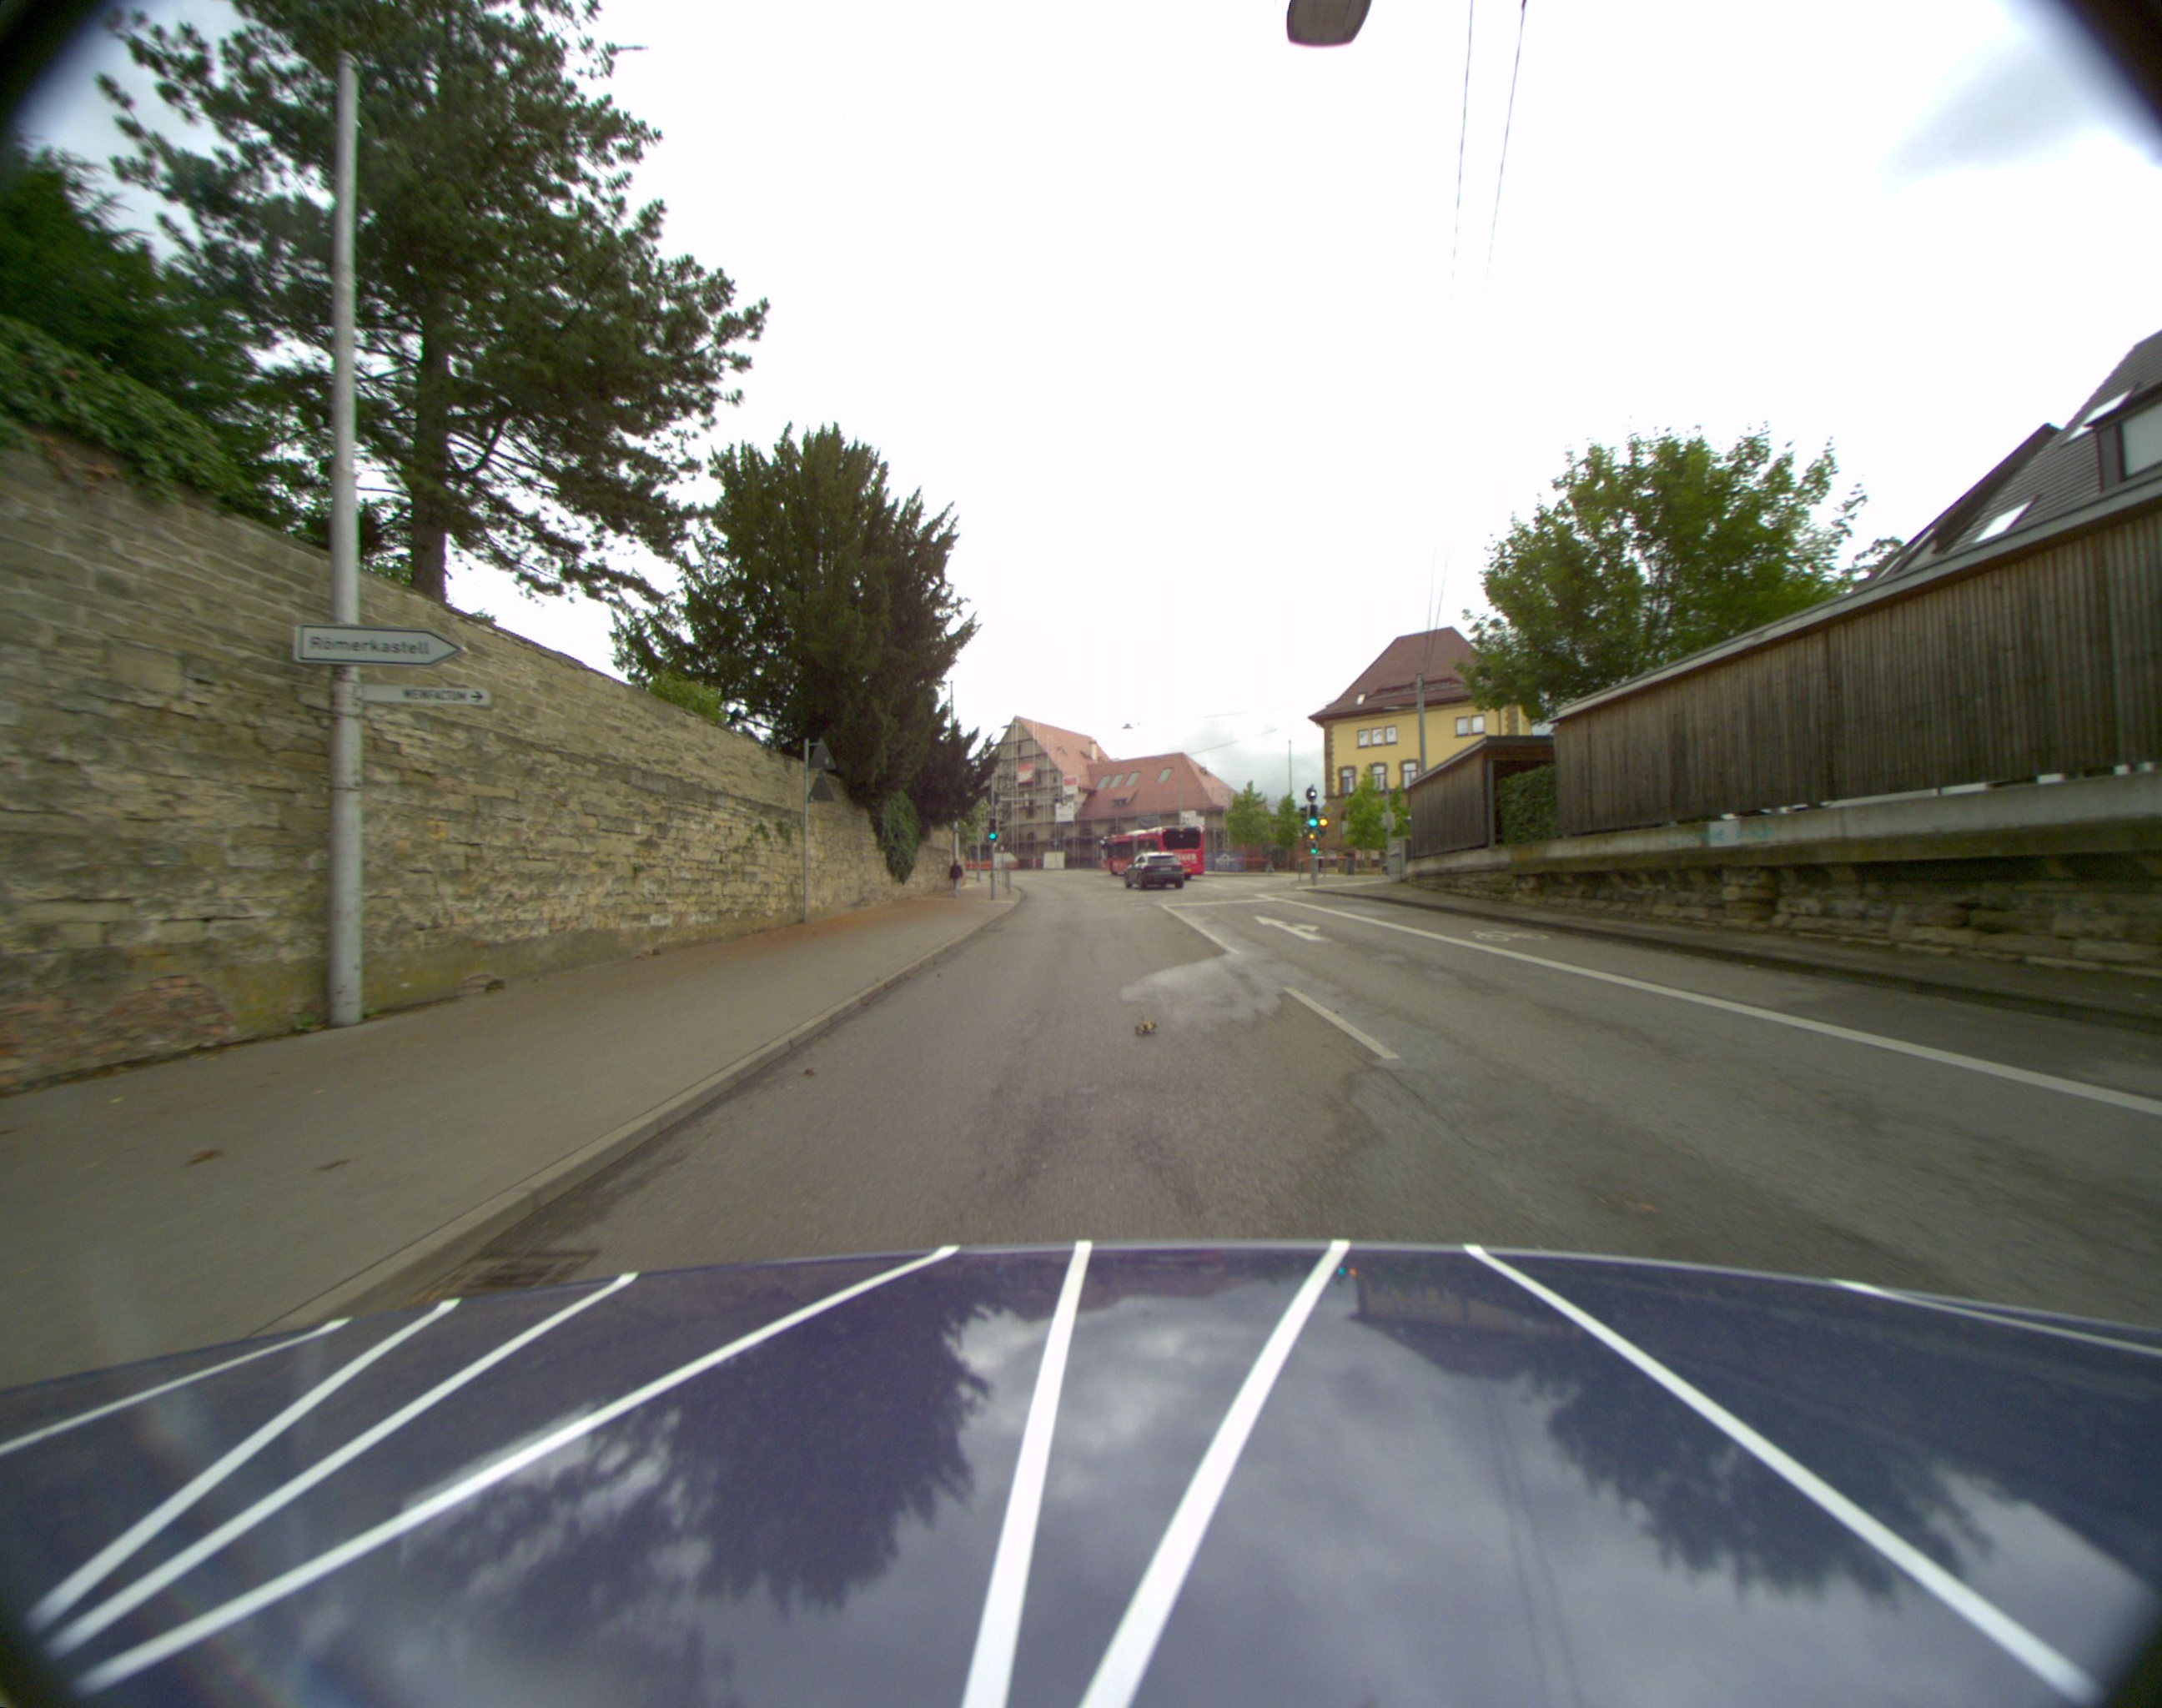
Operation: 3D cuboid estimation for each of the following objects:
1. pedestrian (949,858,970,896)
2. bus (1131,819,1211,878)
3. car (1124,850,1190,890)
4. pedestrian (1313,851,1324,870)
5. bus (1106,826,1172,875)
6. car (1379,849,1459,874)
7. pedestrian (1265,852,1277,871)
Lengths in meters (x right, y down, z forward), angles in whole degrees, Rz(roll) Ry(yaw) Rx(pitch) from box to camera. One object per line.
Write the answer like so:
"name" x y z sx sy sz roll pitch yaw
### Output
"pedestrian" -5.026 0.947 31.513 0.733 1.567 0.743 1 0 -2
"bus" 5.230 -0.275 45.858 2.666 3.103 8.287 -3 0 -7
"car" 3.397 0.672 34.931 1.928 1.621 4.519 -4 1 -8
"pedestrian" 19.896 0.561 63.688 0.541 1.568 0.651 -1 1 -39
"bus" 3.994 -0.229 54.923 2.666 3.103 10.012 -3 0 -7
"car" 20.452 0.443 45.958 4.278 1.504 1.996 0 0 -22
"pedestrian" 17.263 0.674 69.096 0.796 1.710 0.928 0 1 39
